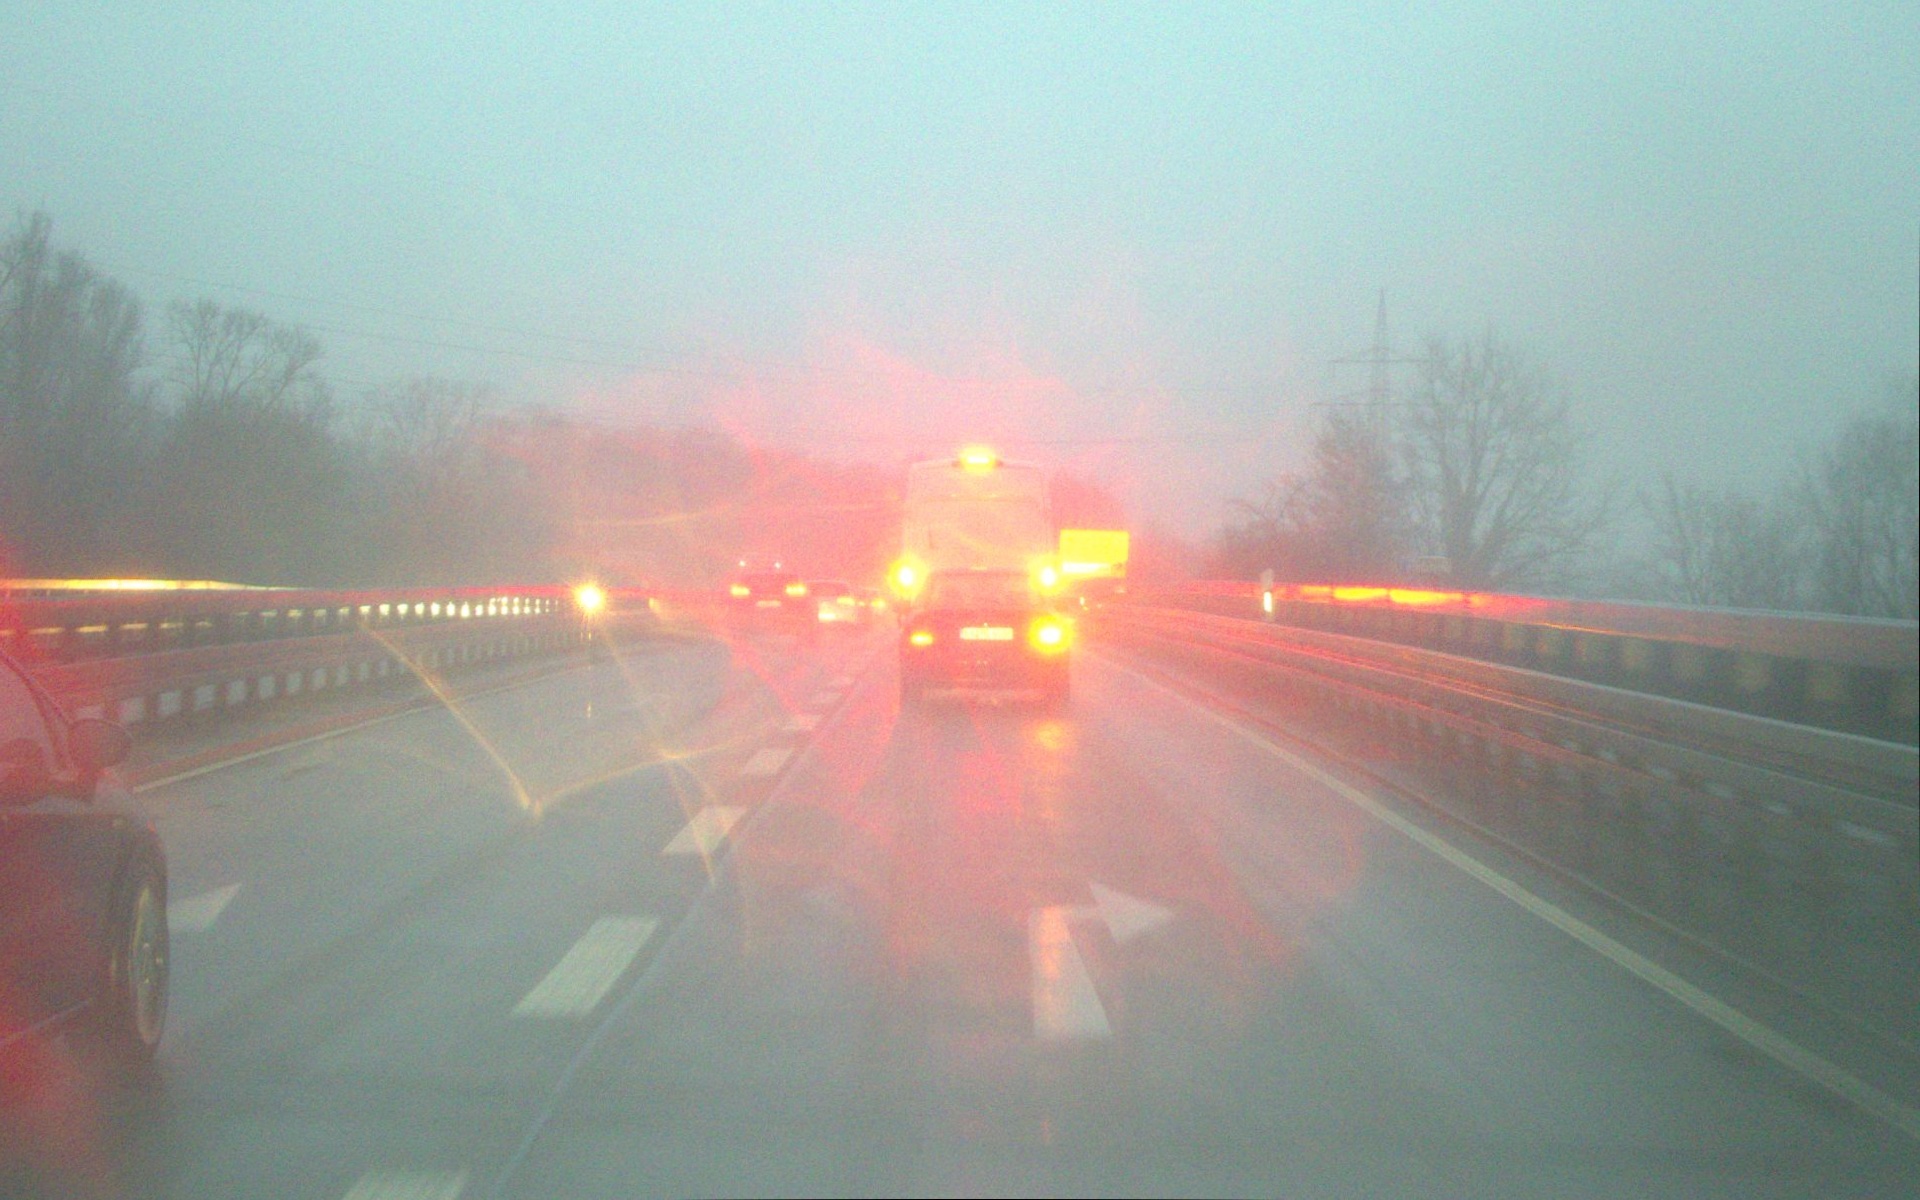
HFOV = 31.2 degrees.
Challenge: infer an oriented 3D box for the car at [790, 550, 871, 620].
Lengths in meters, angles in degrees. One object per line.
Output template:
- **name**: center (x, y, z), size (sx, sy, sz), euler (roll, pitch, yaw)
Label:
- **car**: center (-3.381, -0.414, 90.125), size (1.993, 1.708, 4.000), euler (3, 1, -2)

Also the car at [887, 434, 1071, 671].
- **car**: center (0.226, -0.563, 46.370), size (2.282, 2.956, 6.390), euler (-1, -1, 0)

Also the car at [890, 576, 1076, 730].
- **car**: center (0.265, 0.497, 35.179), size (1.736, 1.410, 4.377), euler (2, 0, 1)

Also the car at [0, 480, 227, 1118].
- **car**: center (-3.161, 0.475, 8.617), size (1.730, 1.527, 4.042), euler (0, 1, 1)

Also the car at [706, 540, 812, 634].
- **car**: center (-4.130, -0.291, 71.165), size (1.993, 1.808, 4.000), euler (3, 1, -2)
